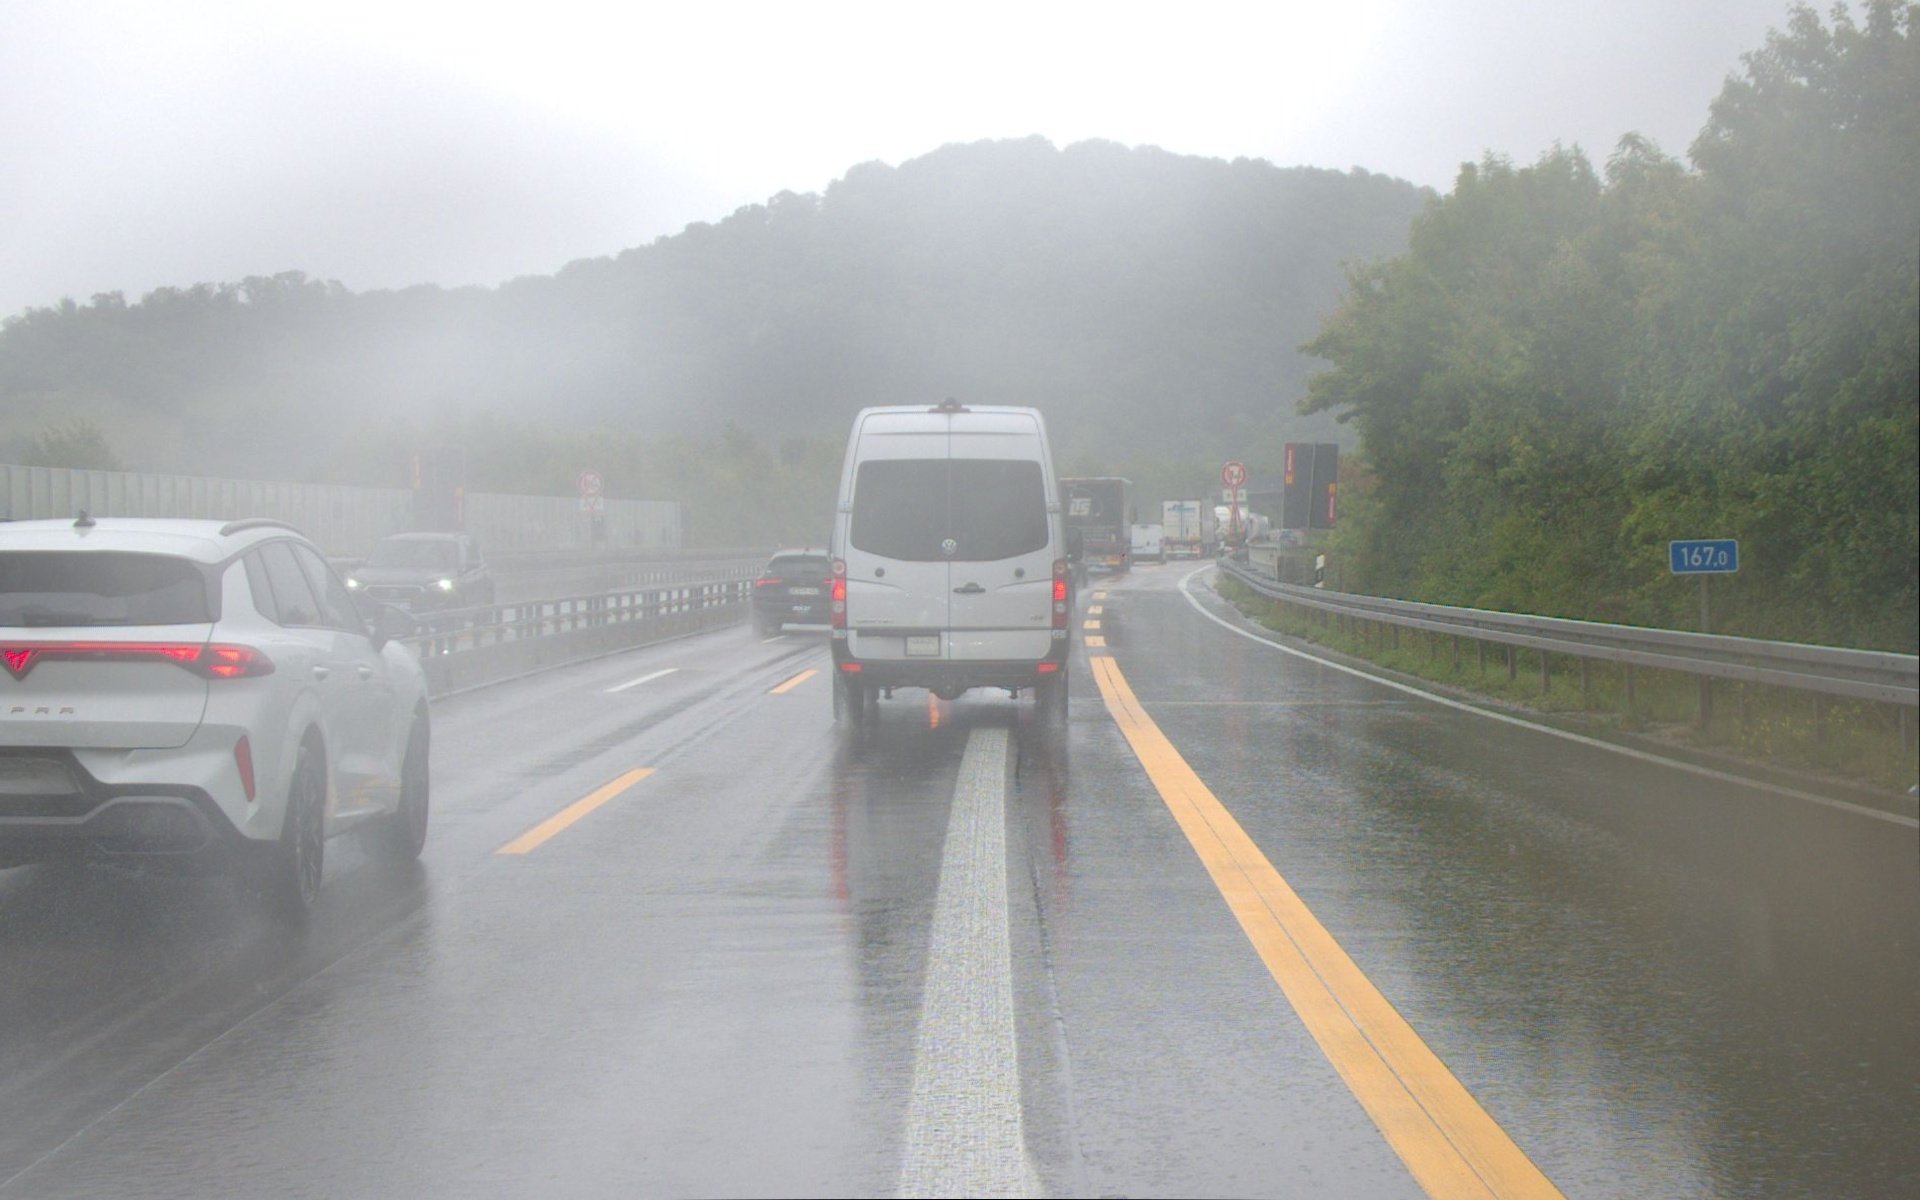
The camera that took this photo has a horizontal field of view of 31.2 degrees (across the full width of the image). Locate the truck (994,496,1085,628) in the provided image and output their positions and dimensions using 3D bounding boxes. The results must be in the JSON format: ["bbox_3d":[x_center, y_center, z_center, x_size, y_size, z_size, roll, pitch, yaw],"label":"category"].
[{"bbox_3d":[2.041,-0.962,85.716,1.994,3.098,8.498,1,1,3],"label":"truck"}]

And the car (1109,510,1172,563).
[{"bbox_3d":[10.094,-3.514,191.533,2.899,2.877,6.409,1,1,8],"label":"car"}]

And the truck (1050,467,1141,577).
[{"bbox_3d":[5.728,-3.226,144.211,3.582,4.391,9.623,1,1,3],"label":"truck"}]

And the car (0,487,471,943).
[{"bbox_3d":[-3.409,0.373,14.649,1.993,1.612,4.797,1,1,-1],"label":"car"}]

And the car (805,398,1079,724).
[{"bbox_3d":[-0.153,-0.342,30.029,2.145,2.562,5.390,1,1,0],"label":"car"}]

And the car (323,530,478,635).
[{"bbox_3d":[-8.950,-0.300,55.272,1.778,1.599,4.316,1,1,0],"label":"car"}]

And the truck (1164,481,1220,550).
[{"bbox_3d":[15.428,-5.551,227.934,3.037,4.391,9.621,1,1,7],"label":"truck"}]

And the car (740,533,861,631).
[{"bbox_3d":[-2.680,-0.320,57.822,1.946,1.556,4.000,1,1,-2],"label":"car"}]

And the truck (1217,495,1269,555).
[{"bbox_3d":[21.501,-5.624,260.426,2.900,4.391,9.619,1,1,11],"label":"truck"}]
